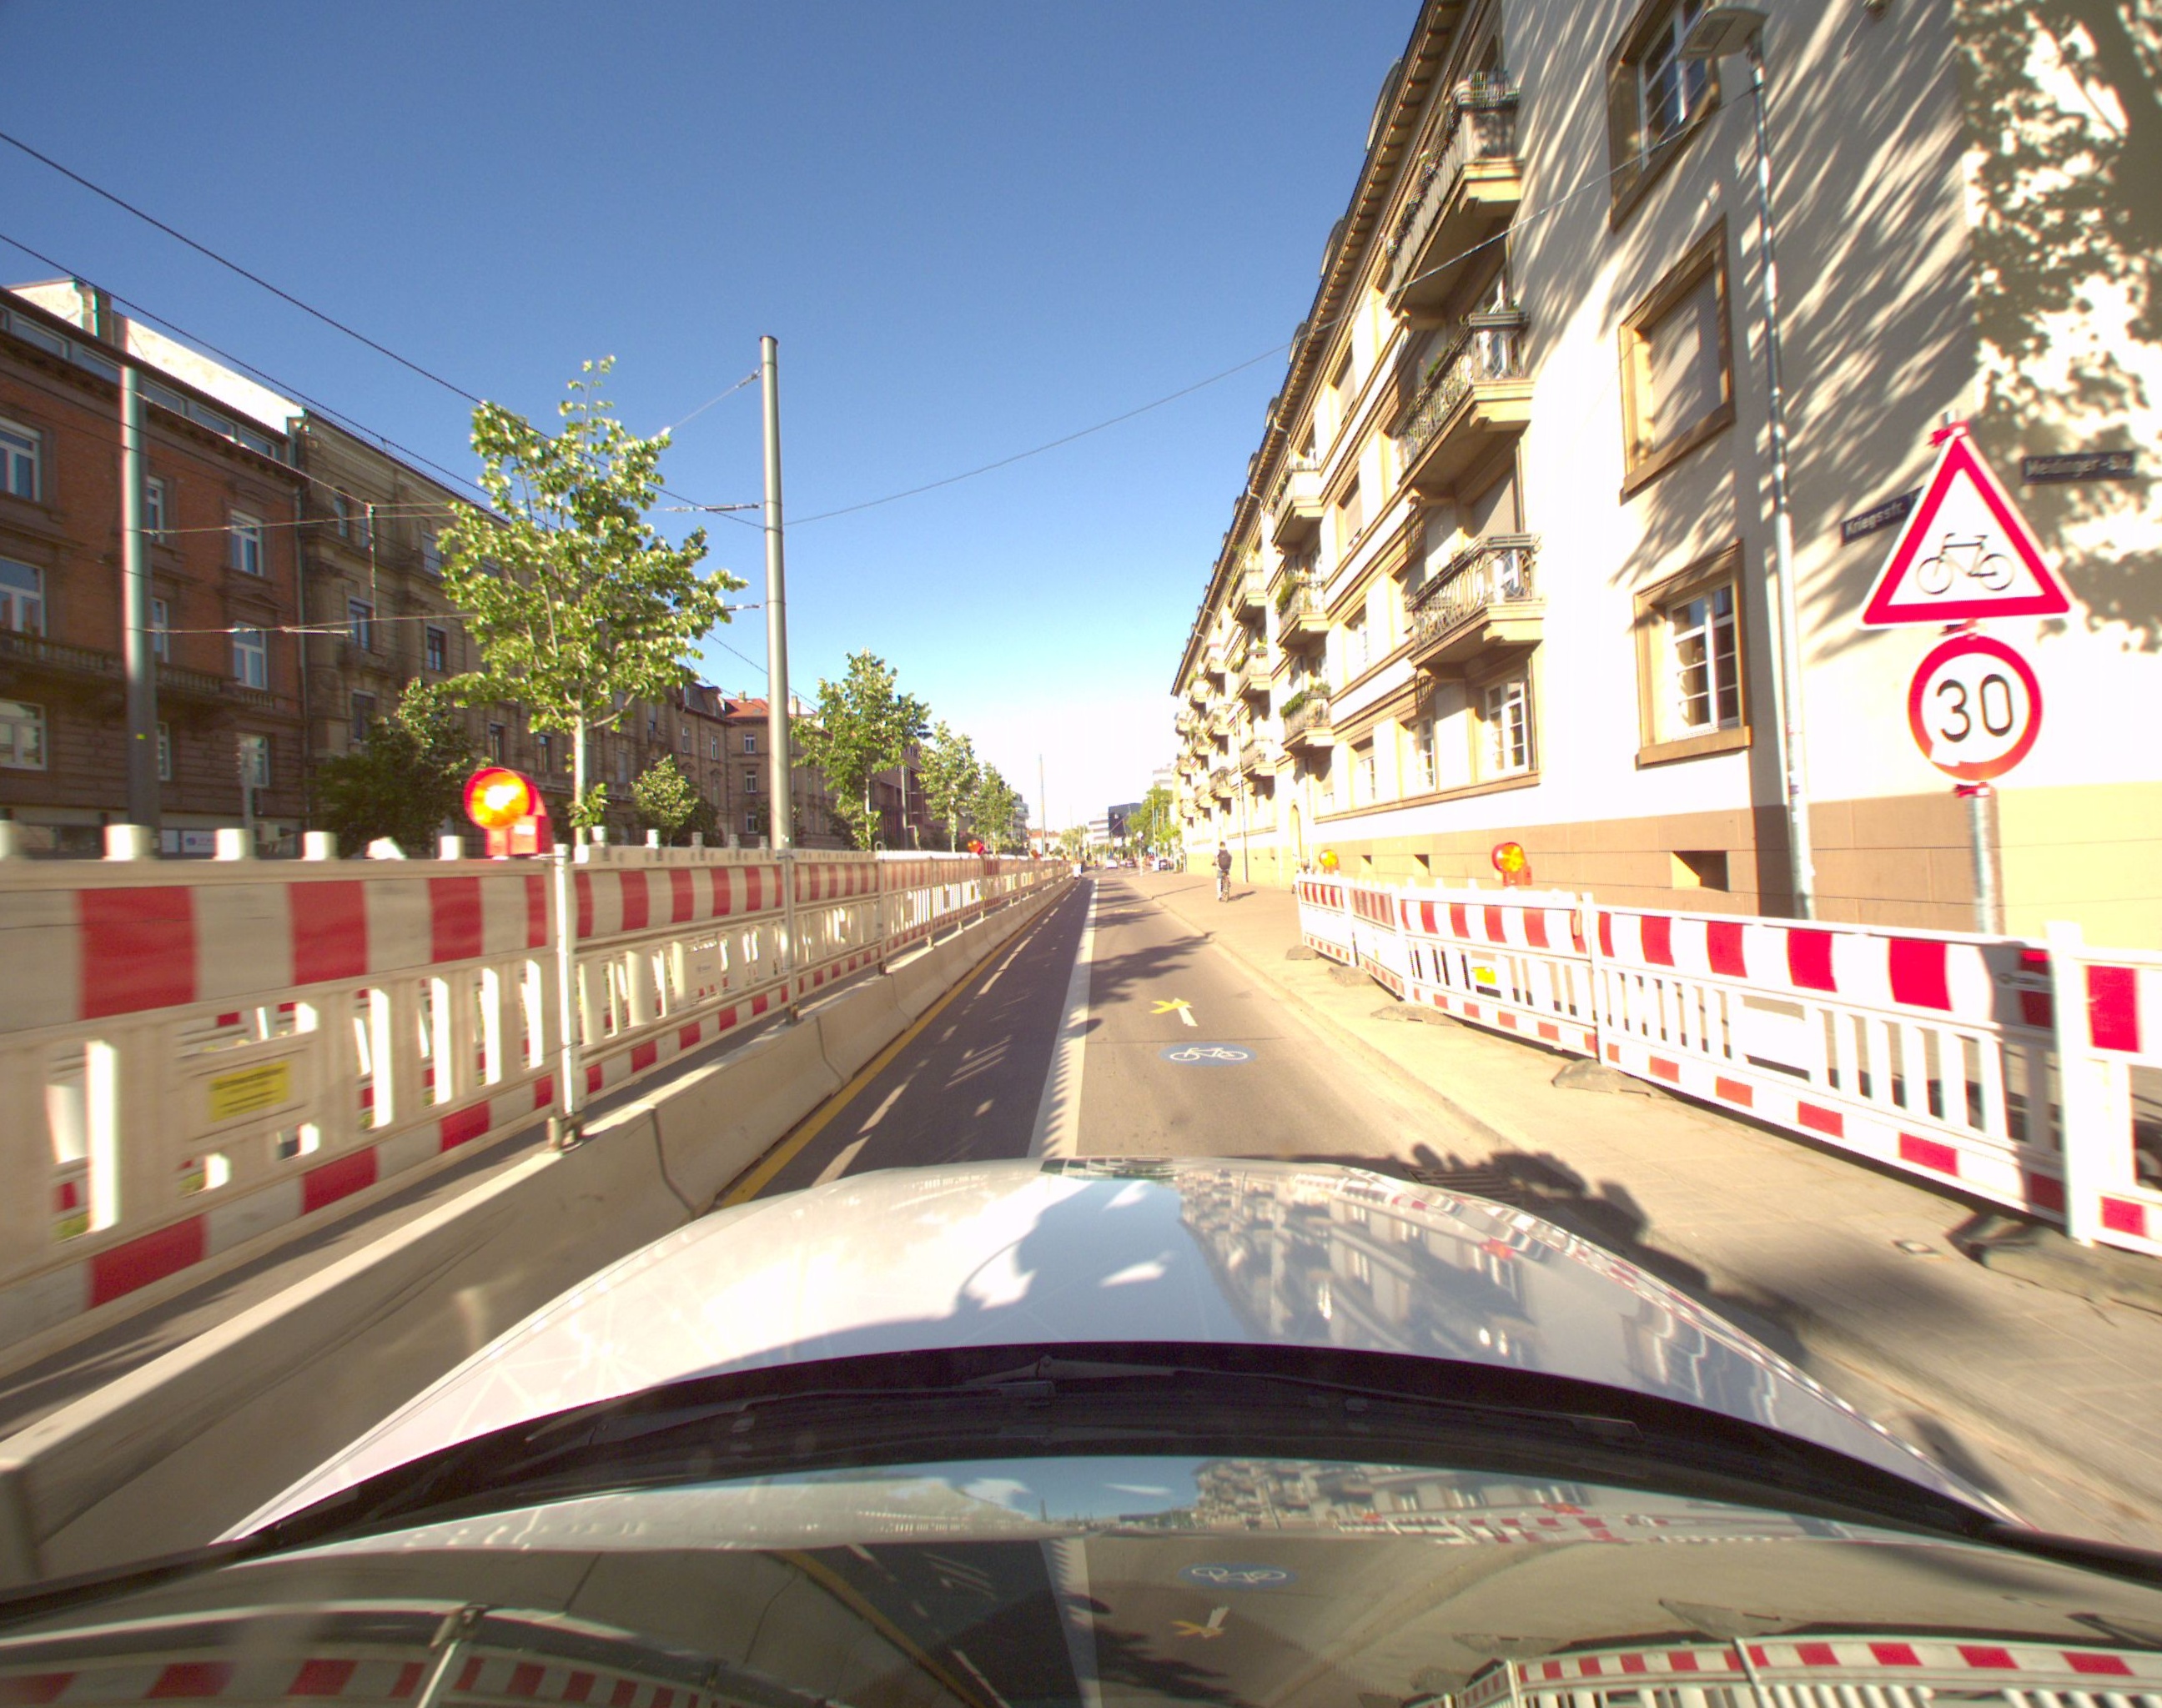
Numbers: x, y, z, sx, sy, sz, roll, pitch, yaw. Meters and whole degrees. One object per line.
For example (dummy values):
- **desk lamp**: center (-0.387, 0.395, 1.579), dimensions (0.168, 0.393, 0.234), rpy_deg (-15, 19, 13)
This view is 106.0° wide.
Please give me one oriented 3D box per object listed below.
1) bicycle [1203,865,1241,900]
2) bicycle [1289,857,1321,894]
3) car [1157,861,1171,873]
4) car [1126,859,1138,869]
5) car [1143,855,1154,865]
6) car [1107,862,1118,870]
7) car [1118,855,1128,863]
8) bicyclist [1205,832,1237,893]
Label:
- **bicycle**: center (4.205, 0.830, 24.484), dimensions (0.764, 0.953, 2.198), rpy_deg (-2, -1, 1)
- **bicycle**: center (7.023, 0.649, 25.575), dimensions (0.416, 1.095, 2.199), rpy_deg (-2, -1, 2)
- **car**: center (11.713, 1.844, 114.889), dimensions (1.711, 1.637, 4.240), rpy_deg (-3, -1, 8)
- **car**: center (8.969, 1.794, 144.073), dimensions (1.967, 1.759, 4.634), rpy_deg (0, -1, 2)
- **car**: center (12.886, 1.139, 156.206), dimensions (1.839, 1.560, 4.636), rpy_deg (0, 2, 2)
- **car**: center (5.390, 2.014, 138.478), dimensions (1.774, 1.414, 4.820), rpy_deg (0, -1, 2)
- **car**: center (8.655, 1.066, 168.809), dimensions (1.844, 1.497, 4.380), rpy_deg (-3, 0, 2)
- **bicyclist**: center (4.176, 0.268, 24.372), dimensions (0.730, 1.763, 0.938), rpy_deg (-2, -1, 1)
